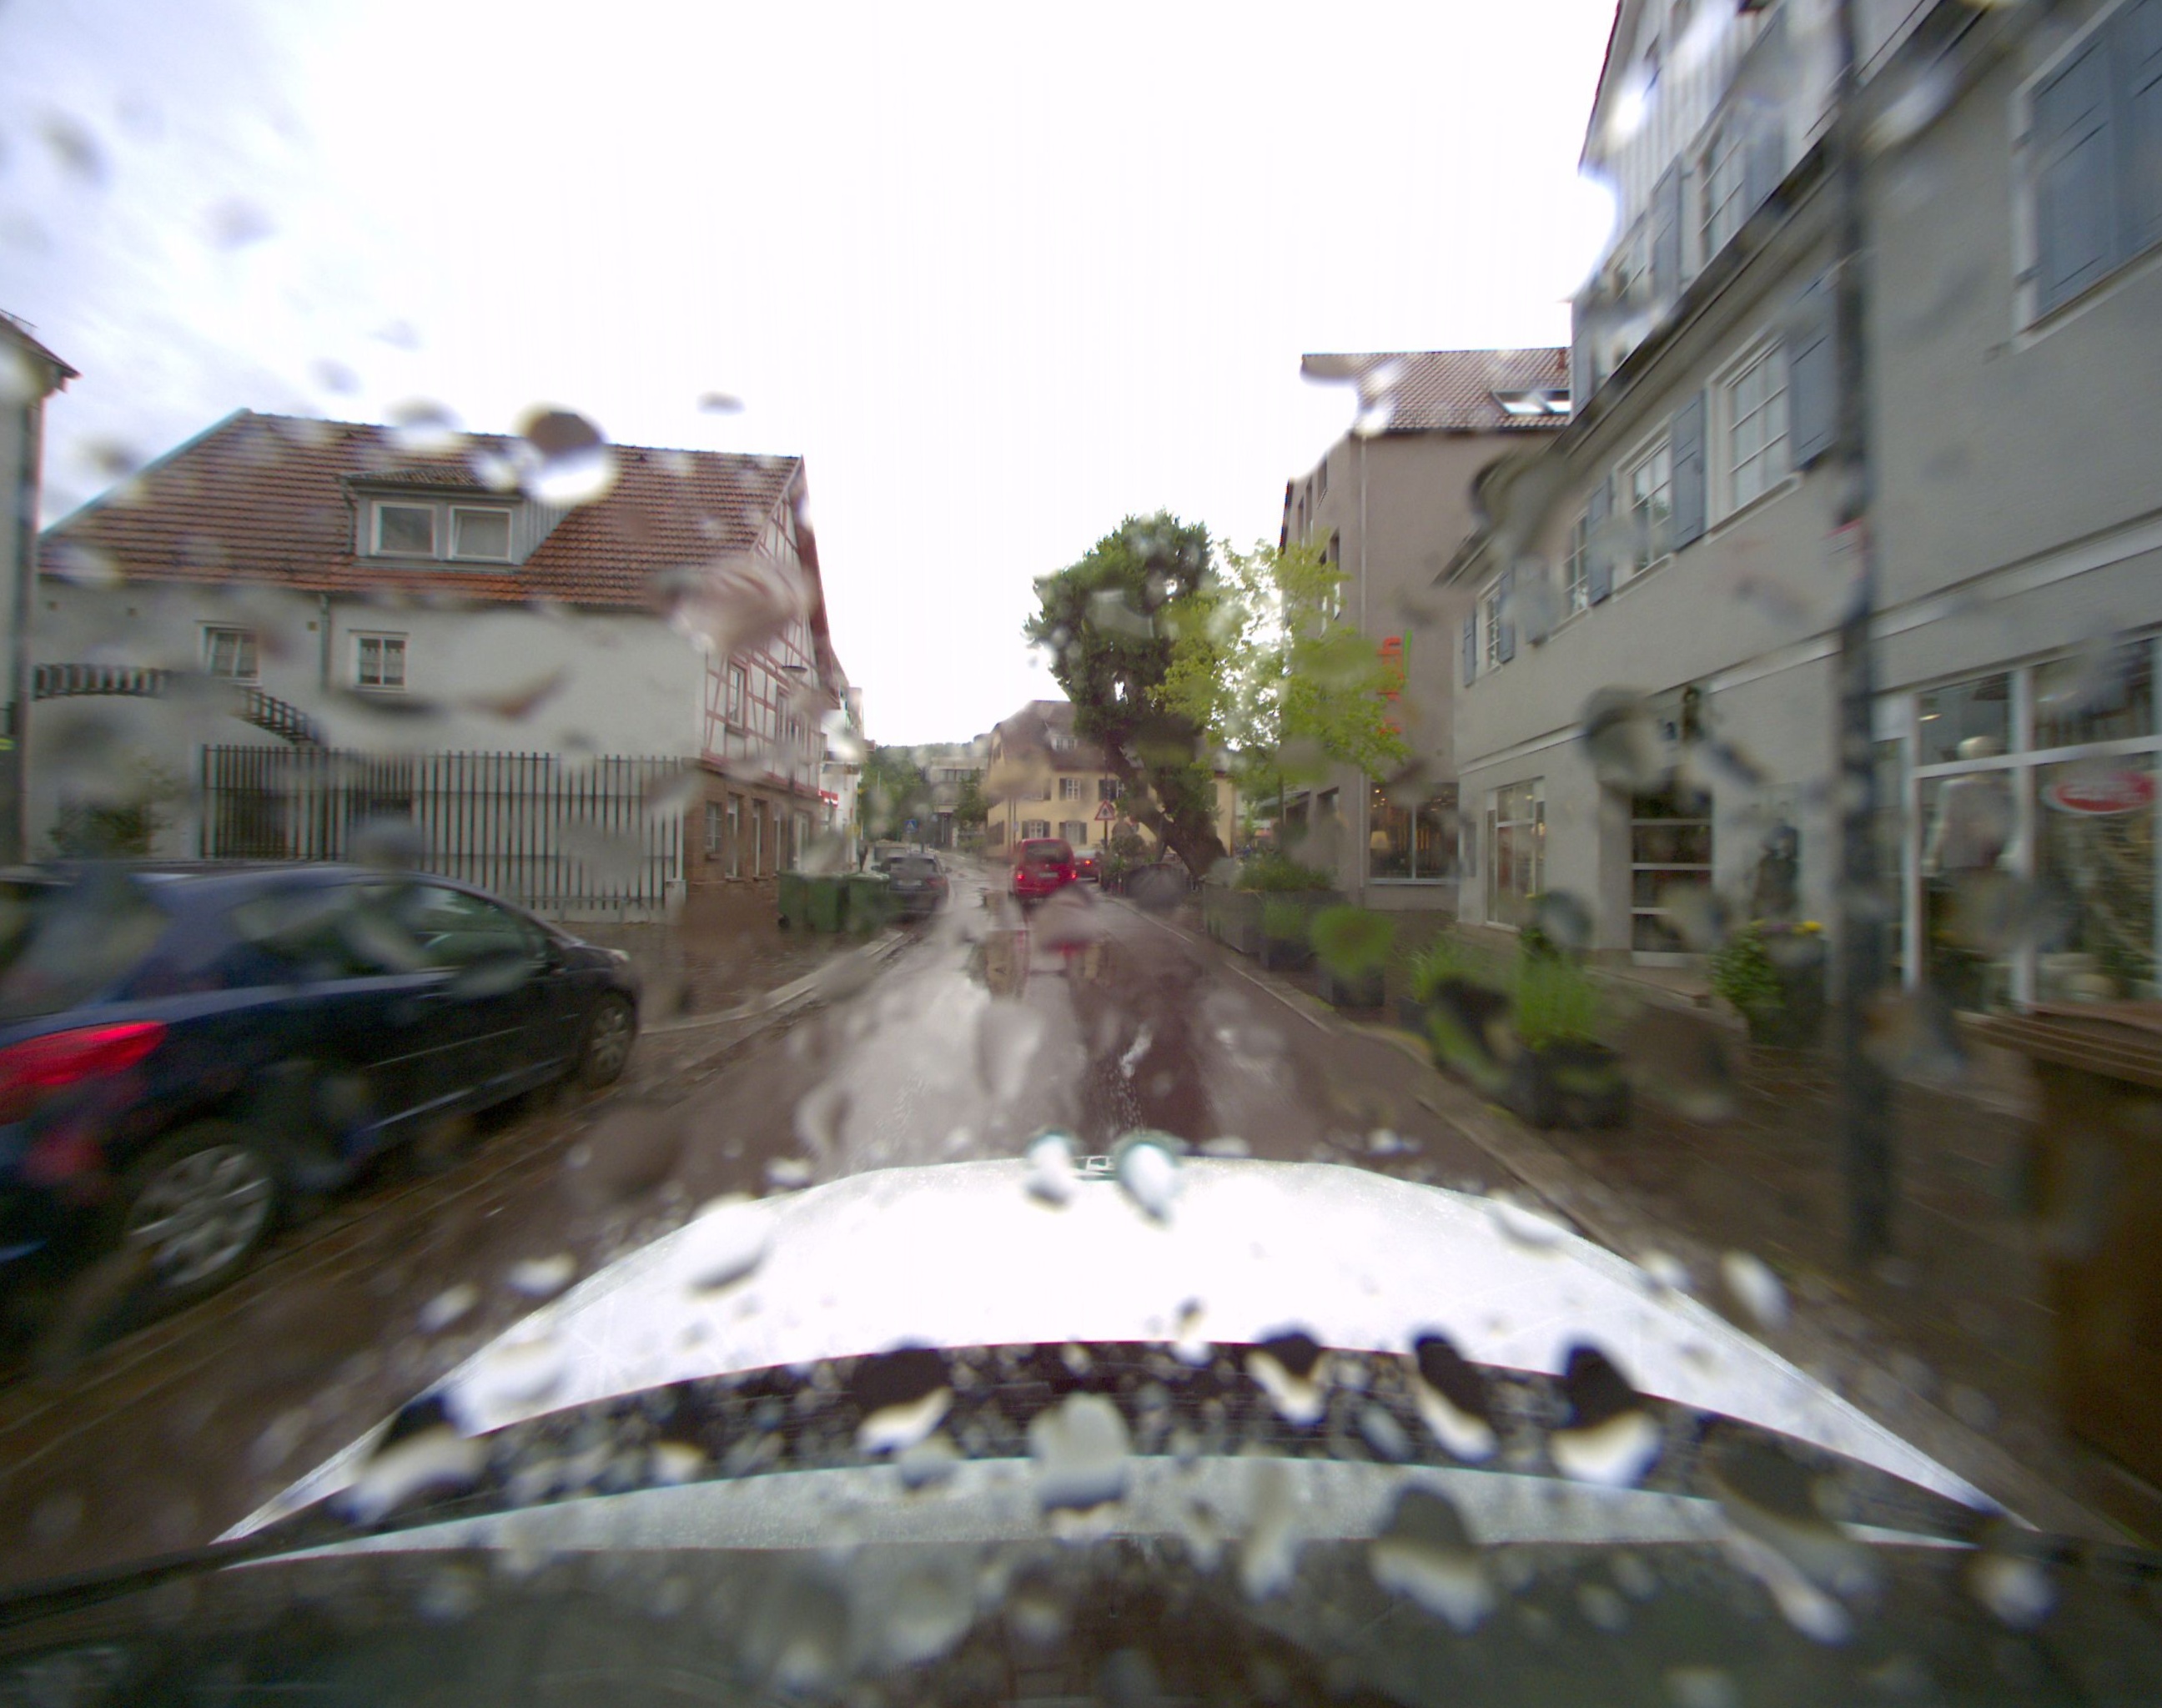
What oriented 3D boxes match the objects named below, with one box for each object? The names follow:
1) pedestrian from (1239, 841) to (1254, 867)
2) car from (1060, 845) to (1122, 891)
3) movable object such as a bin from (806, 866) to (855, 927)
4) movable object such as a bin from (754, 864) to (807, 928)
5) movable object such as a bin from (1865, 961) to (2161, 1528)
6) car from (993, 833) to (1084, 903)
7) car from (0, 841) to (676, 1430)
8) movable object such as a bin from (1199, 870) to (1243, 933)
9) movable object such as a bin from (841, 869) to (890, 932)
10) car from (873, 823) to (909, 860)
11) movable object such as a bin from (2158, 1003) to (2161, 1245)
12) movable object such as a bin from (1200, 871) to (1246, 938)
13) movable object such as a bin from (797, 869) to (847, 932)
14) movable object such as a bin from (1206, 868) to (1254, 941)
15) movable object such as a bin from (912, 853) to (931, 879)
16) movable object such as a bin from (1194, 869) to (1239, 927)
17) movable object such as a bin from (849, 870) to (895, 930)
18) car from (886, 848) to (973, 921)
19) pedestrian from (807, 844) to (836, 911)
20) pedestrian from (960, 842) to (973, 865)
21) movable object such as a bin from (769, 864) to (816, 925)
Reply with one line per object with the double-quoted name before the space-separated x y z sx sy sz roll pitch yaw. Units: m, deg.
"pedestrian" 11.864 0.033 58.397 0.895 1.842 0.766 1 -2 2
"car" 0.487 0.616 35.208 1.981 1.799 4.011 1 -1 10
"movable object such as a bin" -4.754 0.798 15.491 0.724 1.110 0.596 2 -2 -5
"movable object such as a bin" -5.461 0.757 14.829 0.724 1.110 0.596 2 -2 -5
"movable object such as a bin" 2.629 0.858 2.009 0.751 1.090 0.656 -1 0 0
"car" -1.310 0.330 23.477 1.896 1.811 3.983 2 1 -13
"car" -3.775 0.702 4.007 1.753 1.473 3.939 2 1 -4
"movable object such as a bin" 2.544 0.855 14.856 0.675 1.103 0.579 1 -2 -1
"movable object such as a bin" -3.947 0.842 14.963 0.724 1.110 0.596 2 -2 -5
"car" -14.905 -0.892 63.686 2.304 2.602 6.919 2 -1 -16
"movable object such as a bin" 2.612 0.863 1.384 0.732 1.098 0.611 1 -2 3
"movable object such as a bin" 2.421 0.852 13.896 0.630 1.104 0.578 2 -2 -4
"movable object such as a bin" -4.713 0.833 14.860 0.724 1.110 0.596 2 -2 -5
"movable object such as a bin" 2.434 0.819 13.311 0.630 1.150 0.578 2 -2 -4
"movable object such as a bin" -6.765 0.508 34.559 0.713 1.106 0.598 2 -2 -7
"movable object such as a bin" 2.566 0.826 15.484 0.719 1.073 0.648 1 -1 -1
"movable object such as a bin" -3.992 0.873 15.596 0.724 1.110 0.644 2 -2 -5
"car" -3.545 0.640 19.283 1.788 1.495 3.987 2 1 -10
"pedestrian" -6.729 0.608 21.138 0.517 1.711 0.577 2 -2 -4
"pedestrian" -9.670 -0.031 68.781 0.760 1.842 0.903 1 -2 5
"movable object such as a bin" -5.460 0.757 15.459 0.658 1.110 0.615 2 -2 -5
